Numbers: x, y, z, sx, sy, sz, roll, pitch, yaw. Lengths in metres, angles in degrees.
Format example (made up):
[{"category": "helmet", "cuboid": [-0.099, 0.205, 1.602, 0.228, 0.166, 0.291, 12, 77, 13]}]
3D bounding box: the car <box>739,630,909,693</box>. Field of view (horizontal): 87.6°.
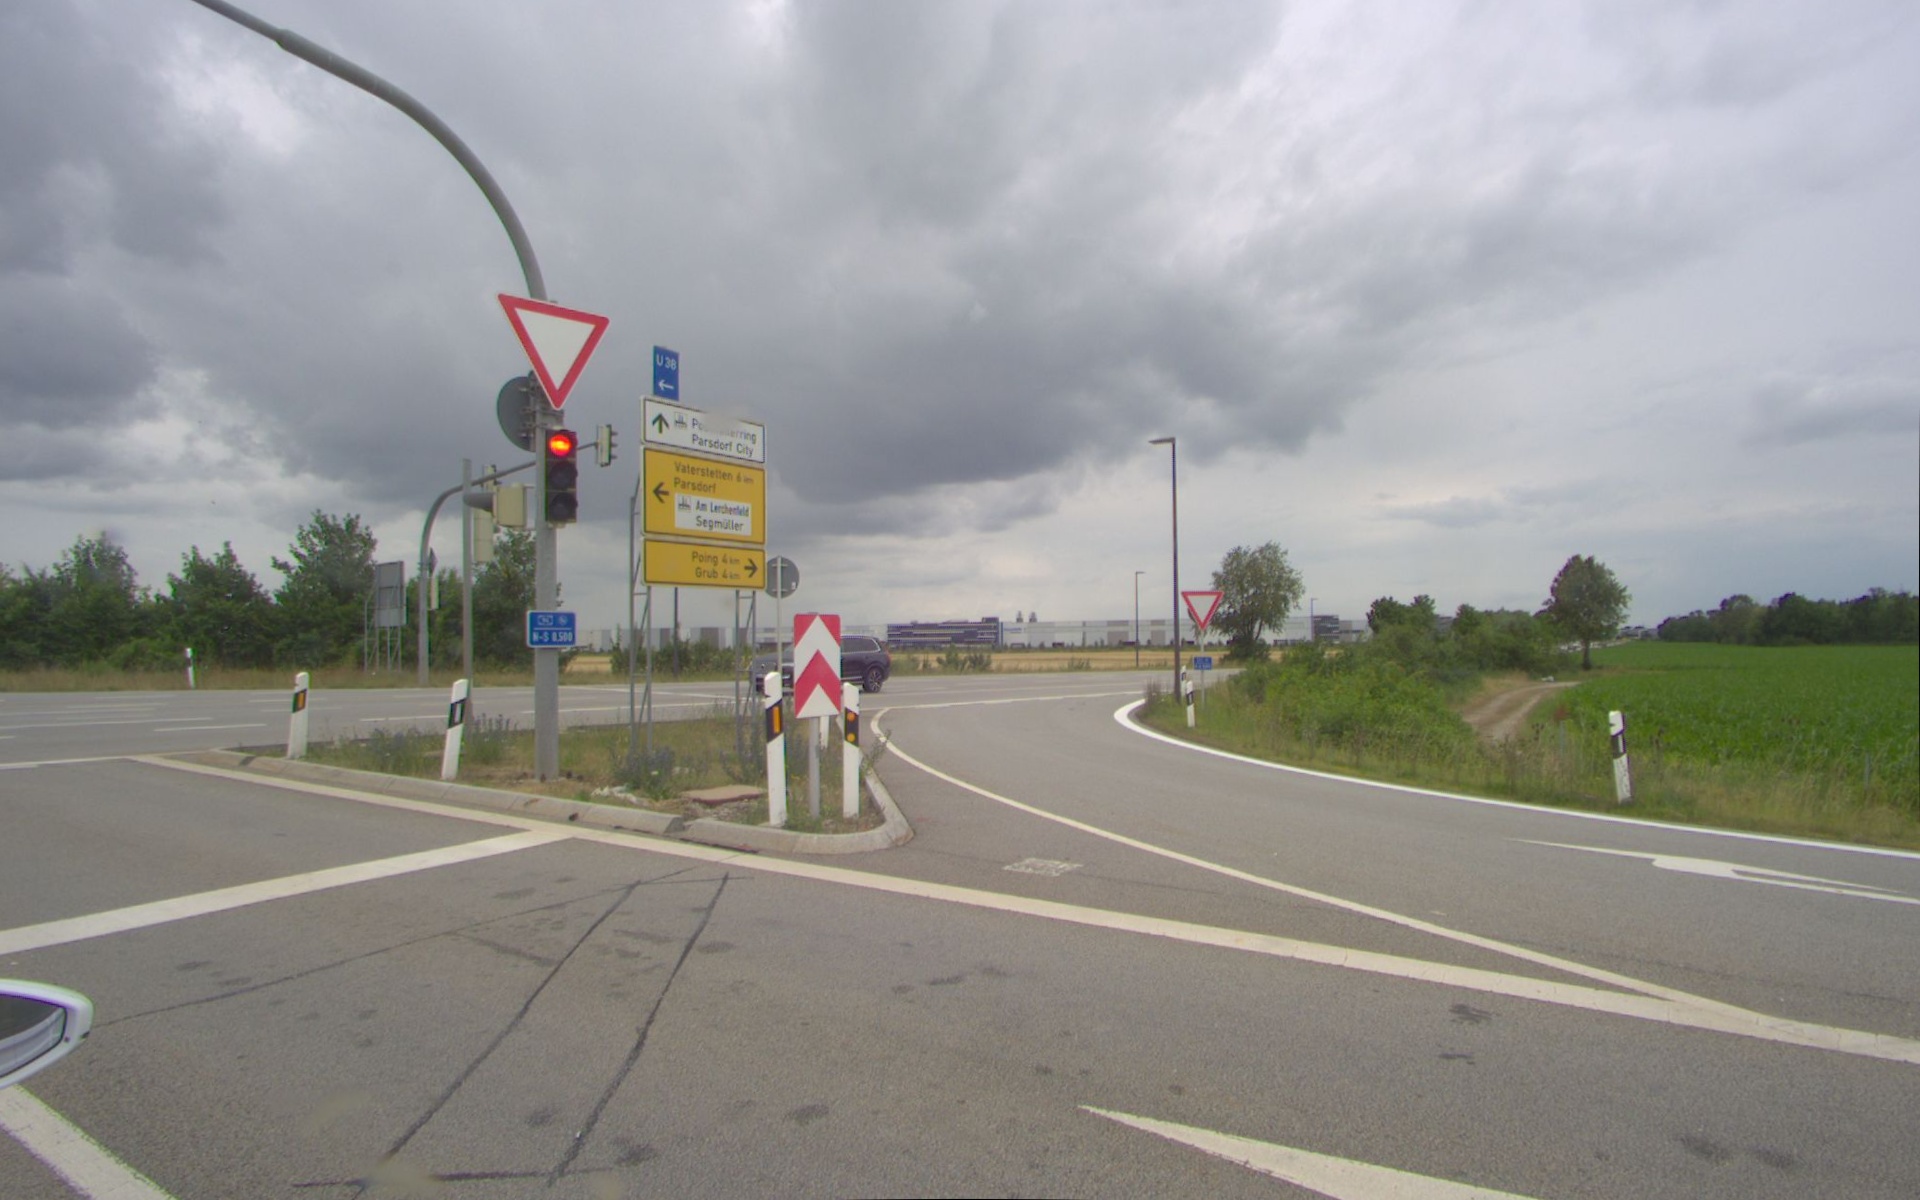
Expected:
[{"category": "car", "cuboid": [-3.935, 1.796, 29.730, 1.977, 1.705, 4.961, -2, -3, 41]}]
